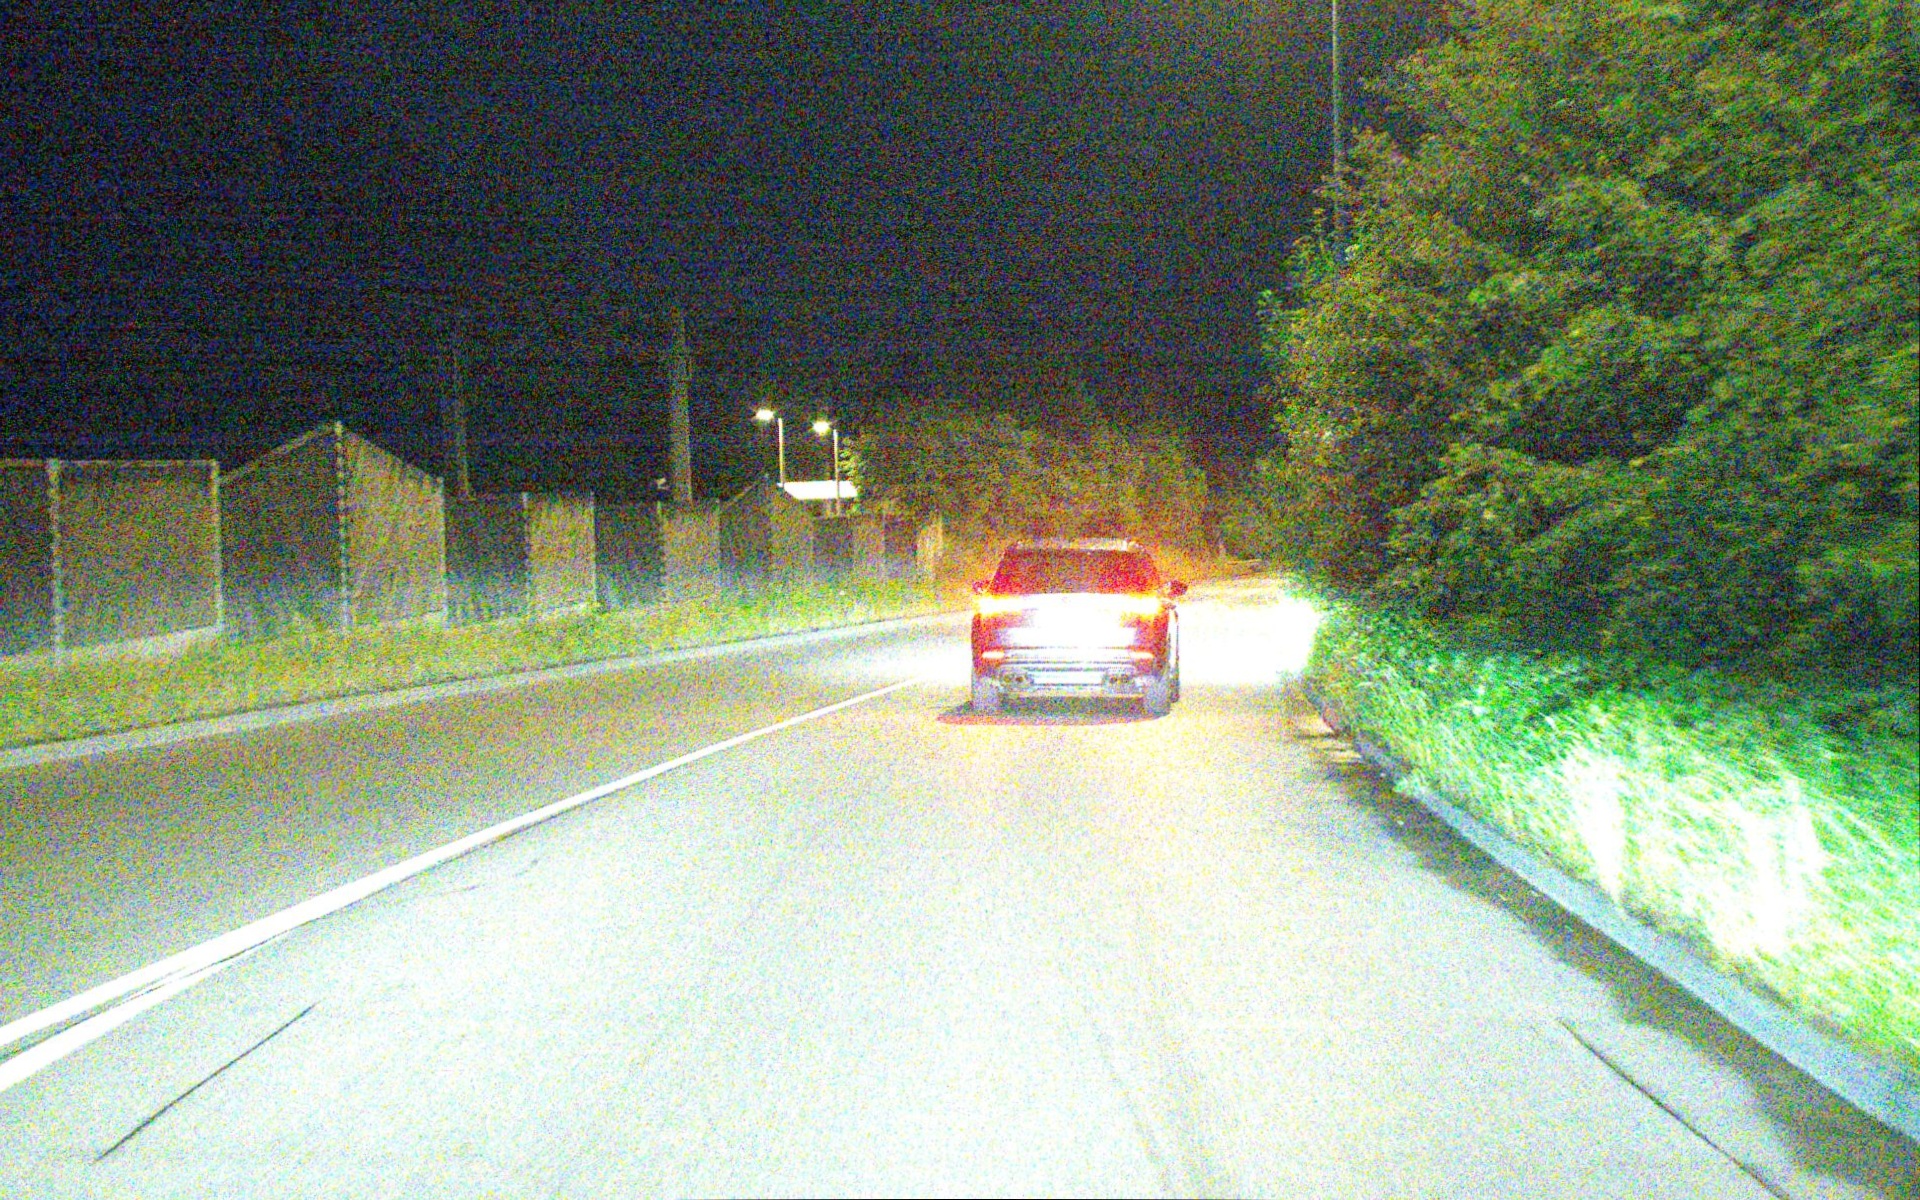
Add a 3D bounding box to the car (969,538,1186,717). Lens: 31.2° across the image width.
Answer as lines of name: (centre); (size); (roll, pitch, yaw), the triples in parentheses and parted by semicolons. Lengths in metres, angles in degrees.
car: (1.159, 0.212, 32.220); (1.815, 1.568, 3.943); (0, 1, 5)
